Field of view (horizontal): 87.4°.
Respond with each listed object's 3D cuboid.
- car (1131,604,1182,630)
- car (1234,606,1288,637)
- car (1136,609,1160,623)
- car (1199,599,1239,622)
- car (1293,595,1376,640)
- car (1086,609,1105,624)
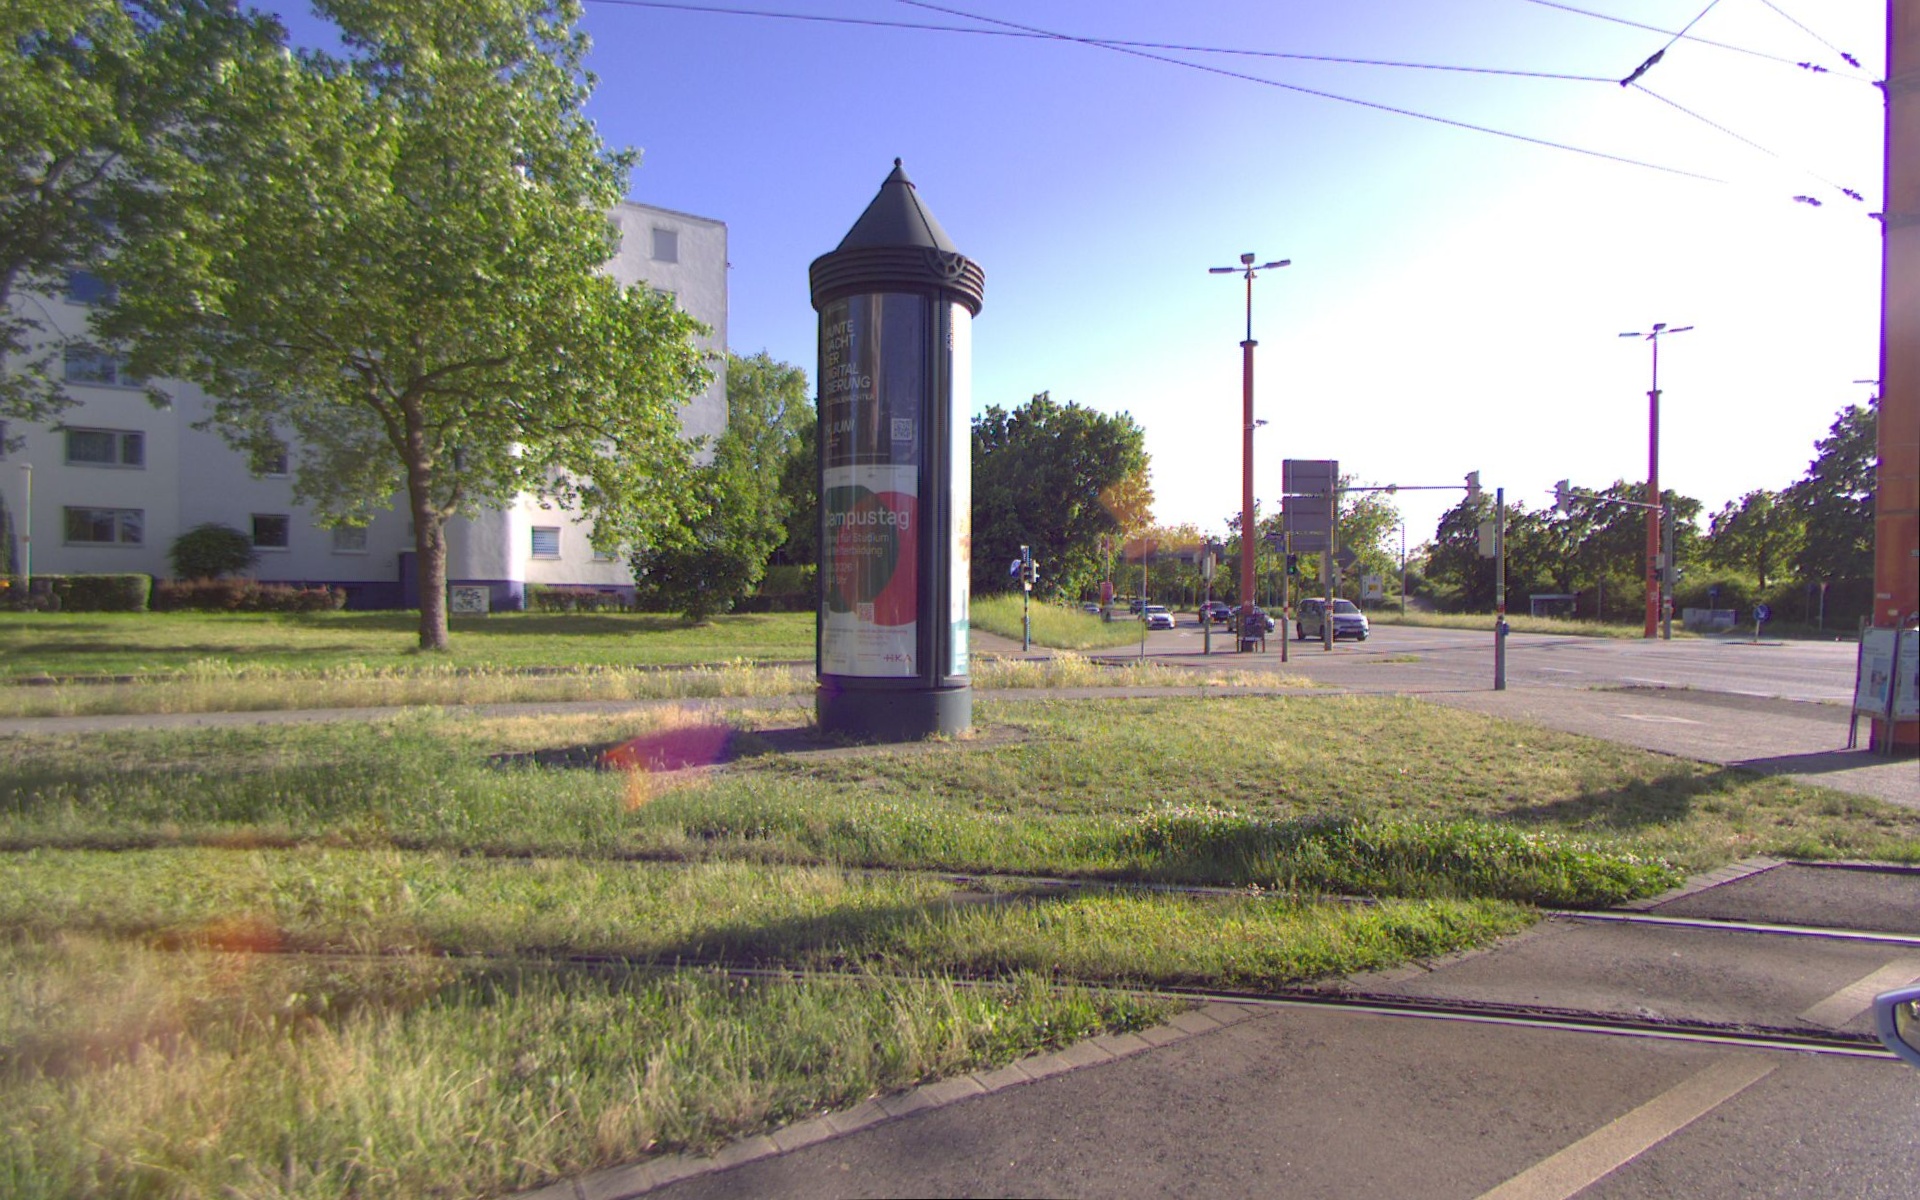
[{"bbox_3d":[12.473,1.049,64.021,1.870,1.571,4.254,-1,0,-9],"label":"car"},{"bbox_3d":[15.604,1.078,52.300,1.866,1.494,4.568,-1,0,6],"label":"car"},{"bbox_3d":[22.146,1.885,118.470,1.867,1.586,4.565,-1,0,0],"label":"car"},{"bbox_3d":[19.739,0.794,76.785,1.867,1.632,4.565,-1,0,0],"label":"car"},{"bbox_3d":[16.078,0.739,43.358,1.867,1.799,4.446,-1,0,0],"label":"car"},{"bbox_3d":[16.418,1.983,122.306,1.866,1.632,4.566,-1,0,2],"label":"car"}]
